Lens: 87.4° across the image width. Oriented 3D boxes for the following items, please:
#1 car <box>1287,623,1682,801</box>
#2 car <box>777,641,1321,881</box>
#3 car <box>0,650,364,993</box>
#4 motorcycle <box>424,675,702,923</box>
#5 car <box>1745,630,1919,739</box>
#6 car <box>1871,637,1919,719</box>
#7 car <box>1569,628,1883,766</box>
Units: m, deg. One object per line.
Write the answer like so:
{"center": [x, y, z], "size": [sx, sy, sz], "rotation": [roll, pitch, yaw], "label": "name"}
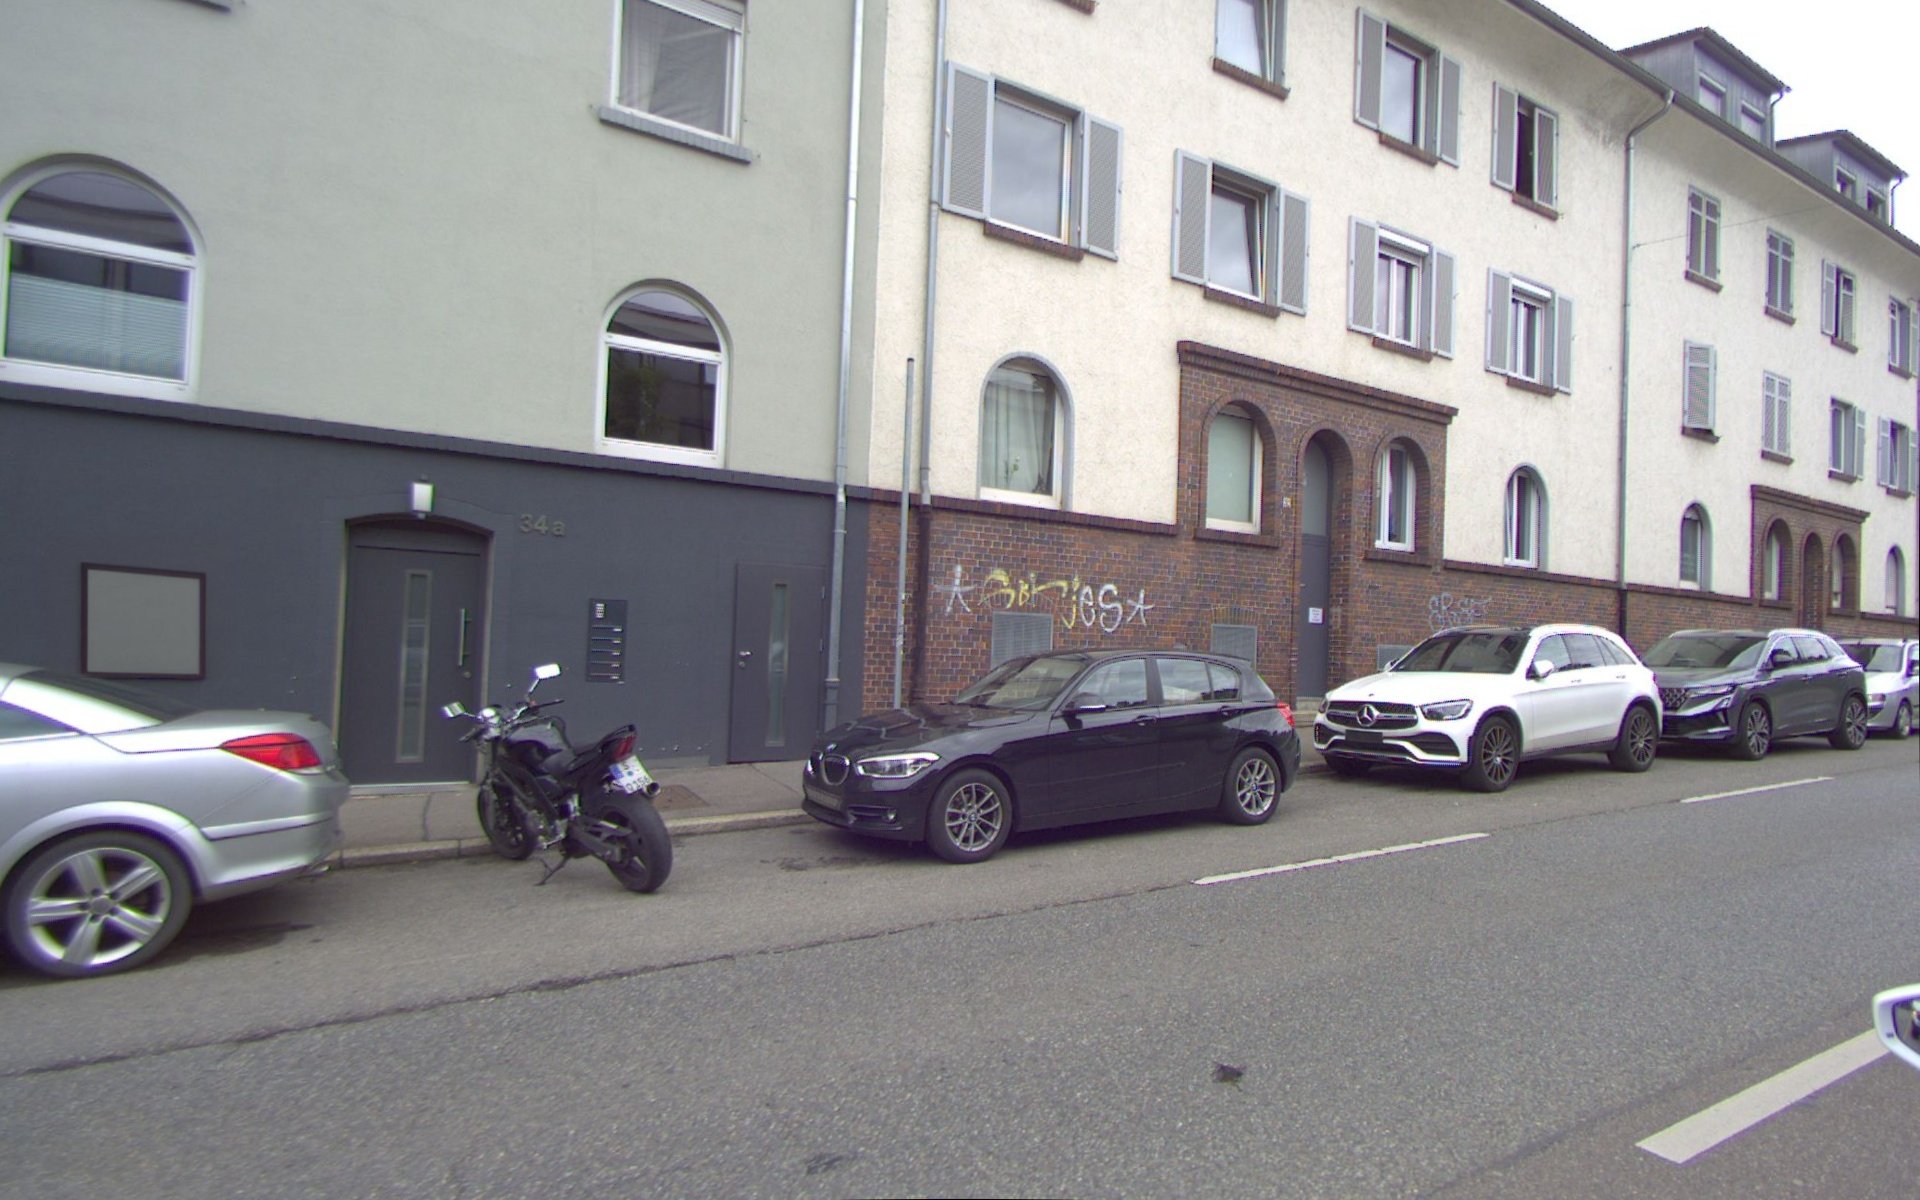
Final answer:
{"center": [5.966, 1.095, 11.278], "size": [4.591, 1.642, 1.836], "rotation": [1, -2, -31], "label": "car"}
{"center": [0.801, 1.071, 8.039], "size": [4.143, 1.448, 1.719], "rotation": [1, -2, -31], "label": "car"}
{"center": [-5.180, 0.956, 4.509], "size": [4.289, 1.392, 1.718], "rotation": [1, -2, -32], "label": "car"}
{"center": [-2.502, 1.103, 6.187], "size": [2.018, 1.251, 0.803], "rotation": [-4, -4, 43], "label": "motorcycle"}
{"center": [14.819, 1.332, 16.457], "size": [4.035, 1.578, 1.719], "rotation": [2, -4, -31], "label": "car"}
{"center": [19.213, 1.473, 19.306], "size": [3.562, 1.494, 1.540], "rotation": [1, -2, -31], "label": "car"}
{"center": [10.451, 1.197, 13.641], "size": [4.445, 1.620, 1.720], "rotation": [1, -2, -28], "label": "car"}
